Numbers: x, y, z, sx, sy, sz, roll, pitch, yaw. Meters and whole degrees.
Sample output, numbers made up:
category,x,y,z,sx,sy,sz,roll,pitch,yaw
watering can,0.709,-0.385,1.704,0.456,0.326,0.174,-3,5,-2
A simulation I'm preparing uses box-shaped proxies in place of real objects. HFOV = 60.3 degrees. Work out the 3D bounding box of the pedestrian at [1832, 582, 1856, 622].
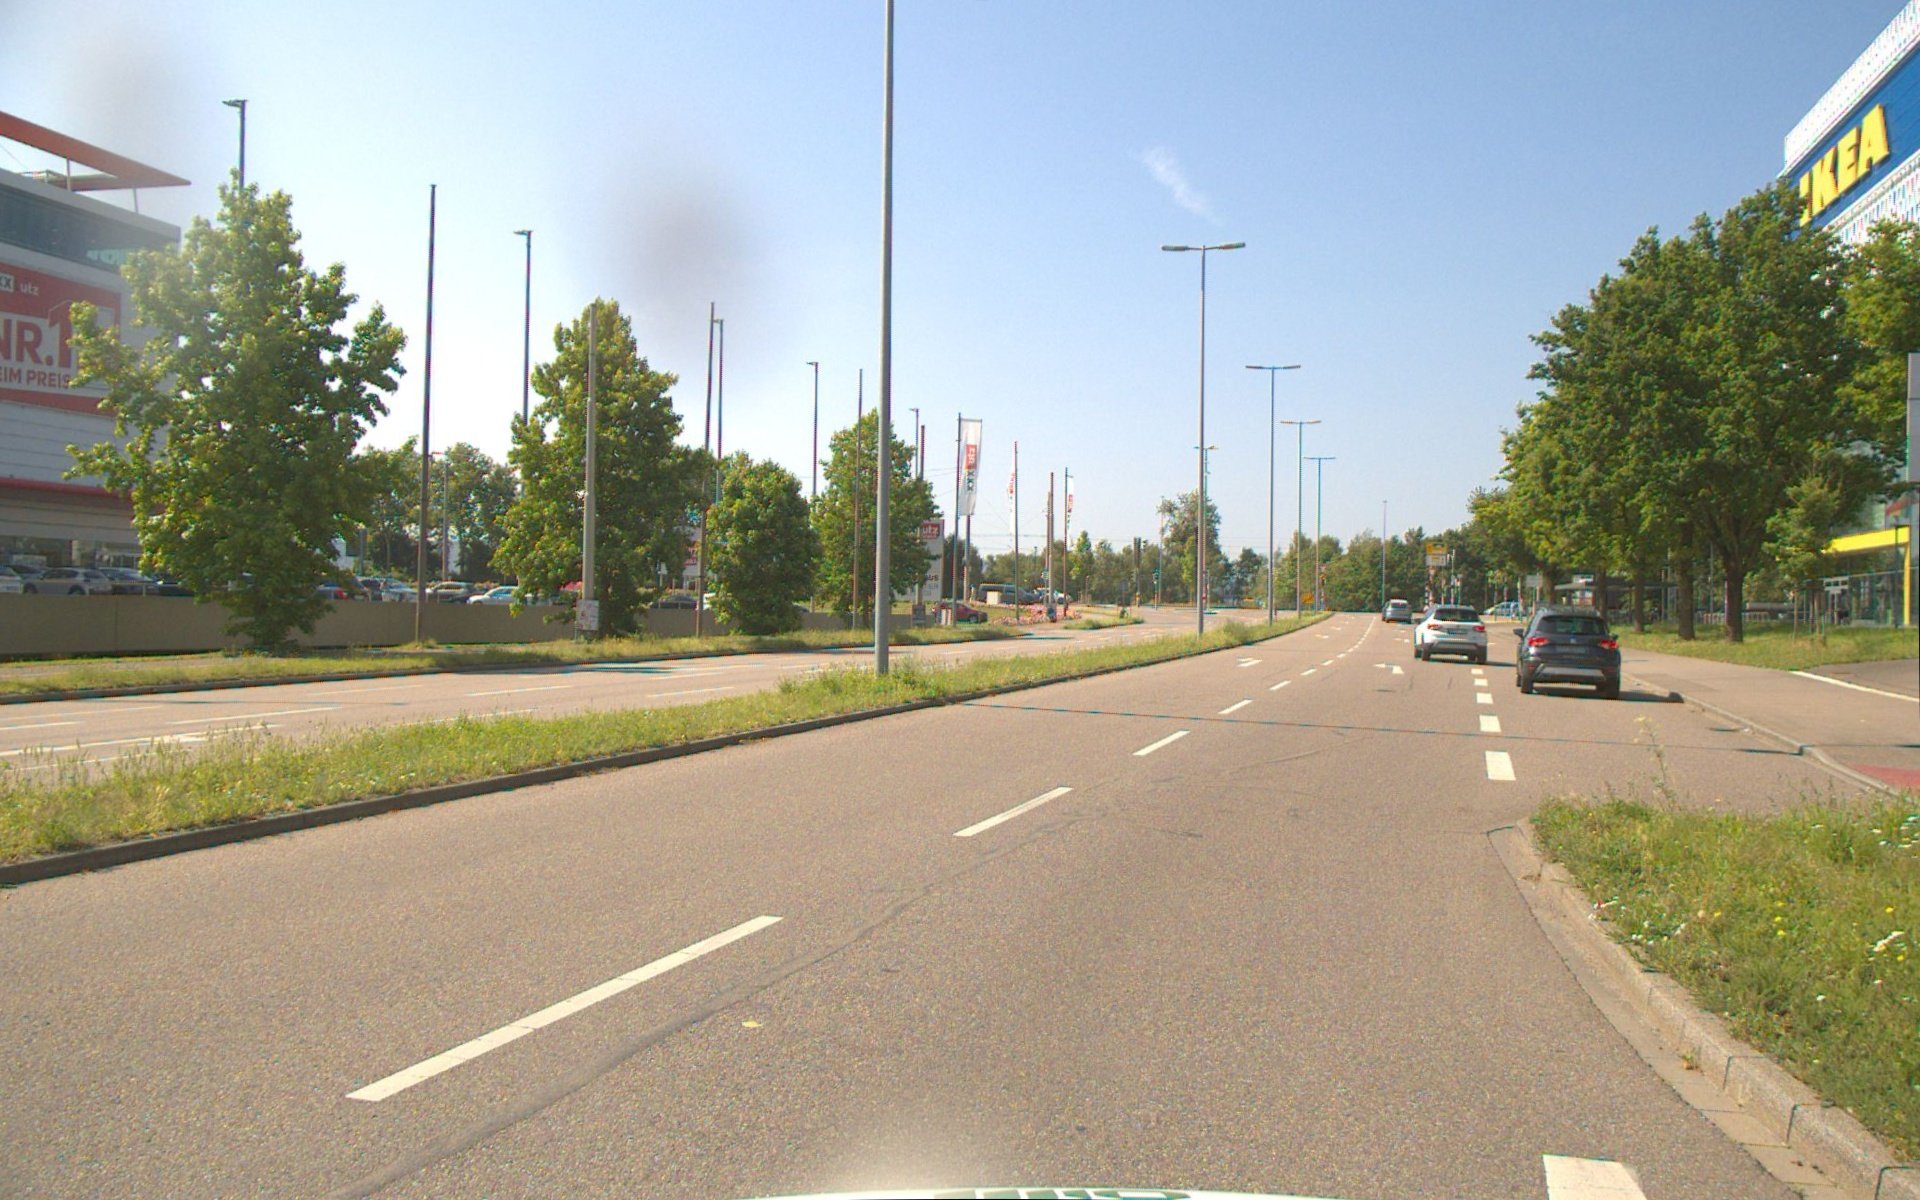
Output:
category,x,y,z,sx,sy,sz,roll,pitch,yaw
pedestrian,36.746,0.077,68.722,0.673,1.640,0.772,0,0,11

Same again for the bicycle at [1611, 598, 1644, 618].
category,x,y,z,sx,sy,sz,roll,pitch,yaw
bicycle,38.382,0.477,95.146,1.721,1.115,0.452,0,0,15

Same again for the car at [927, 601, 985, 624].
category,x,y,z,sx,sy,sz,roll,pitch,yaw
car,-0.305,0.945,124.563,4.094,1.634,1.828,1,-1,10

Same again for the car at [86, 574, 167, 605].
category,x,y,z,sx,sy,sz,roll,pitch,yaw
car,-38.064,-0.485,75.522,3.021,1.353,1.517,1,-1,13

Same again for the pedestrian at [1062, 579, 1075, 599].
category,x,y,z,sx,sy,sz,roll,pitch,yaw
pedestrian,9.122,-0.931,139.482,0.823,1.737,0.905,0,0,26

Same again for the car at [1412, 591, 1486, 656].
category,x,y,z,sx,sy,sz,roll,pitch,yaw
car,13.483,0.608,45.779,1.596,1.524,3.874,1,3,11

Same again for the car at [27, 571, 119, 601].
category,x,y,z,sx,sy,sz,roll,pitch,yaw
car,-38.983,-0.610,72.678,3.424,1.220,1.481,1,-1,13

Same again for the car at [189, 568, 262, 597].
category,x,y,z,sx,sy,sz,roll,pitch,yaw
car,-36.552,-0.883,82.328,3.021,1.353,1.517,1,-1,13

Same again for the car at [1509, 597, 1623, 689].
category,x,y,z,sx,sy,sz,roll,pitch,yaw
car,11.196,0.747,30.733,1.634,1.550,3.379,2,1,15

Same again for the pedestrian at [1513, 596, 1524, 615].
category,x,y,z,sx,sy,sz,roll,pitch,yaw
pedestrian,47.081,0.435,139.466,0.757,1.537,1.007,1,1,25

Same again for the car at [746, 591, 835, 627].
category,x,y,z,sx,sy,sz,roll,pitch,yaw
car,-9.056,0.478,88.559,4.318,1.875,1.947,1,-1,14

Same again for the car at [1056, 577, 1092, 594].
category,x,y,z,sx,sy,sz,roll,pitch,yaw
car,10.877,-1.364,158.253,3.272,1.526,1.411,1,-1,11

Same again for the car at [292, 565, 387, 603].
category,x,y,z,sx,sy,sz,roll,pitch,yaw
car,-18.635,-0.486,49.698,2.459,1.078,1.072,1,-1,12

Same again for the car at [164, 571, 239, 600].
category,x,y,z,sx,sy,sz,roll,pitch,yaw
car,-36.768,-0.688,80.203,3.022,1.316,1.517,1,-1,14

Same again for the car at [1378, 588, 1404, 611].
category,x,y,z,sx,sy,sz,roll,pitch,yaw
car,30.431,-0.070,116.929,1.670,1.600,4.178,0,0,13

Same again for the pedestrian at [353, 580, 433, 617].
category,x,y,z,sx,sy,sz,roll,pitch,yaw
pedestrian,-33.214,-0.060,96.876,1.967,2.049,3.971,0,-1,45

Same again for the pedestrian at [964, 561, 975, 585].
category,x,y,z,sx,sy,sz,roll,pitch,yaw
pedestrian,0.839,-2.319,143.495,0.701,2.006,0.918,1,-1,19

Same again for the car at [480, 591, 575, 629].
category,x,y,z,sx,sy,sz,roll,pitch,yaw
car,-23.512,0.524,90.008,4.569,2.049,2.032,0,0,11

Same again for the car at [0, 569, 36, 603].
category,x,y,z,sx,sy,sz,roll,pitch,yaw
car,-40.255,-0.581,68.552,3.021,1.353,1.705,1,-1,13
